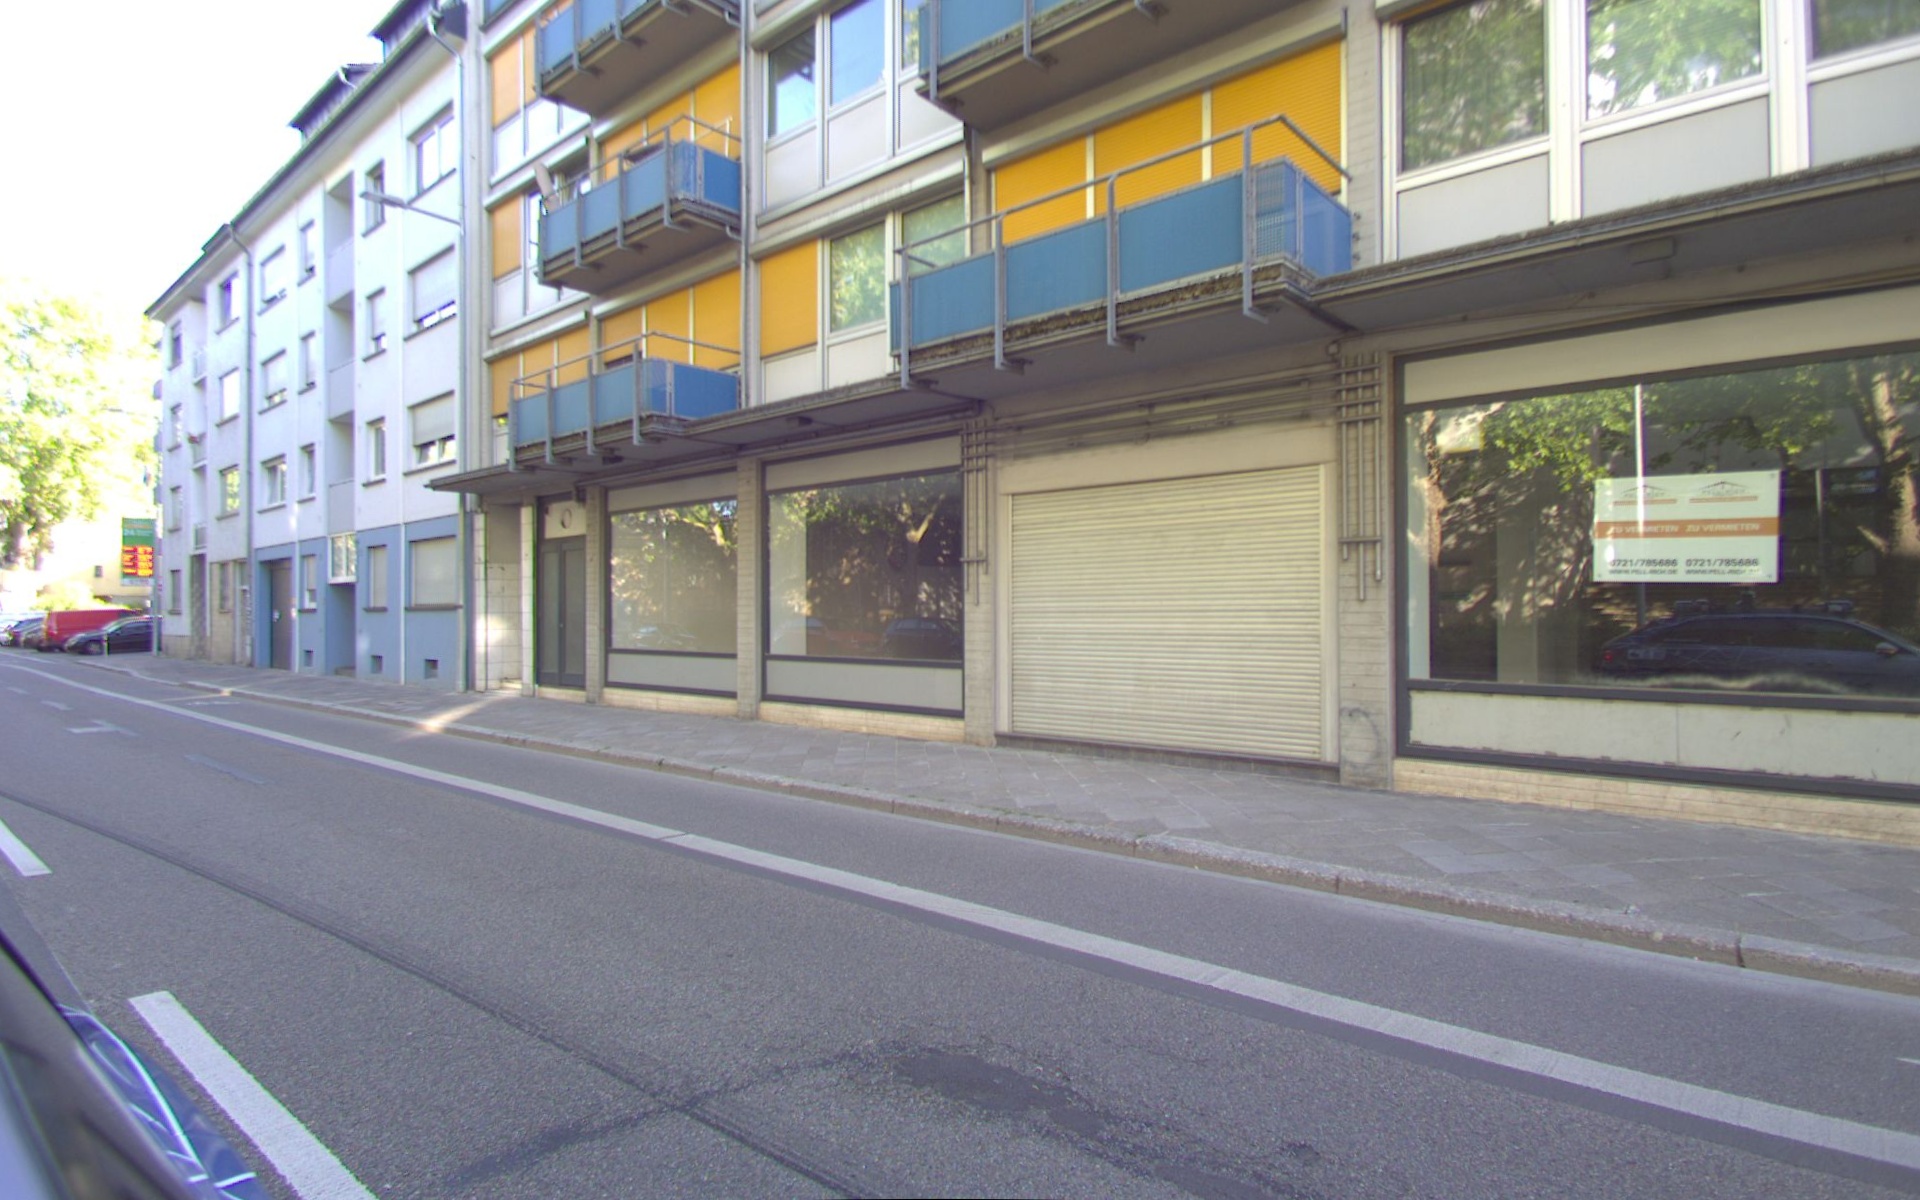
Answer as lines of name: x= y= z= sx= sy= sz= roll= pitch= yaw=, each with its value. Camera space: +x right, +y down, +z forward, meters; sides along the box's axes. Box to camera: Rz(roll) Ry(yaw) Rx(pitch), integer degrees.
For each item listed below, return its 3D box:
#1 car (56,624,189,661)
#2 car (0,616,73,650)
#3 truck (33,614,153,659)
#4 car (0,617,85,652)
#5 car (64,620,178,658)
car: x=-36.475 y=1.798 z=44.154 sx=1.657 sy=1.417 sz=4.269 roll=-1 pitch=0 yaw=40
car: x=-59.322 y=2.098 z=64.397 sx=2.000 sy=2.052 sz=4.180 roll=-1 pitch=0 yaw=43
truck: x=-40.704 y=1.652 z=47.570 sx=1.999 sy=1.939 sz=4.040 roll=-1 pitch=0 yaw=40
car: x=-56.039 y=2.069 z=61.467 sx=2.000 sy=1.971 sz=4.180 roll=-1 pitch=0 yaw=43
car: x=-38.025 y=1.734 z=45.937 sx=1.657 sy=1.583 sz=3.762 roll=-1 pitch=0 yaw=41
